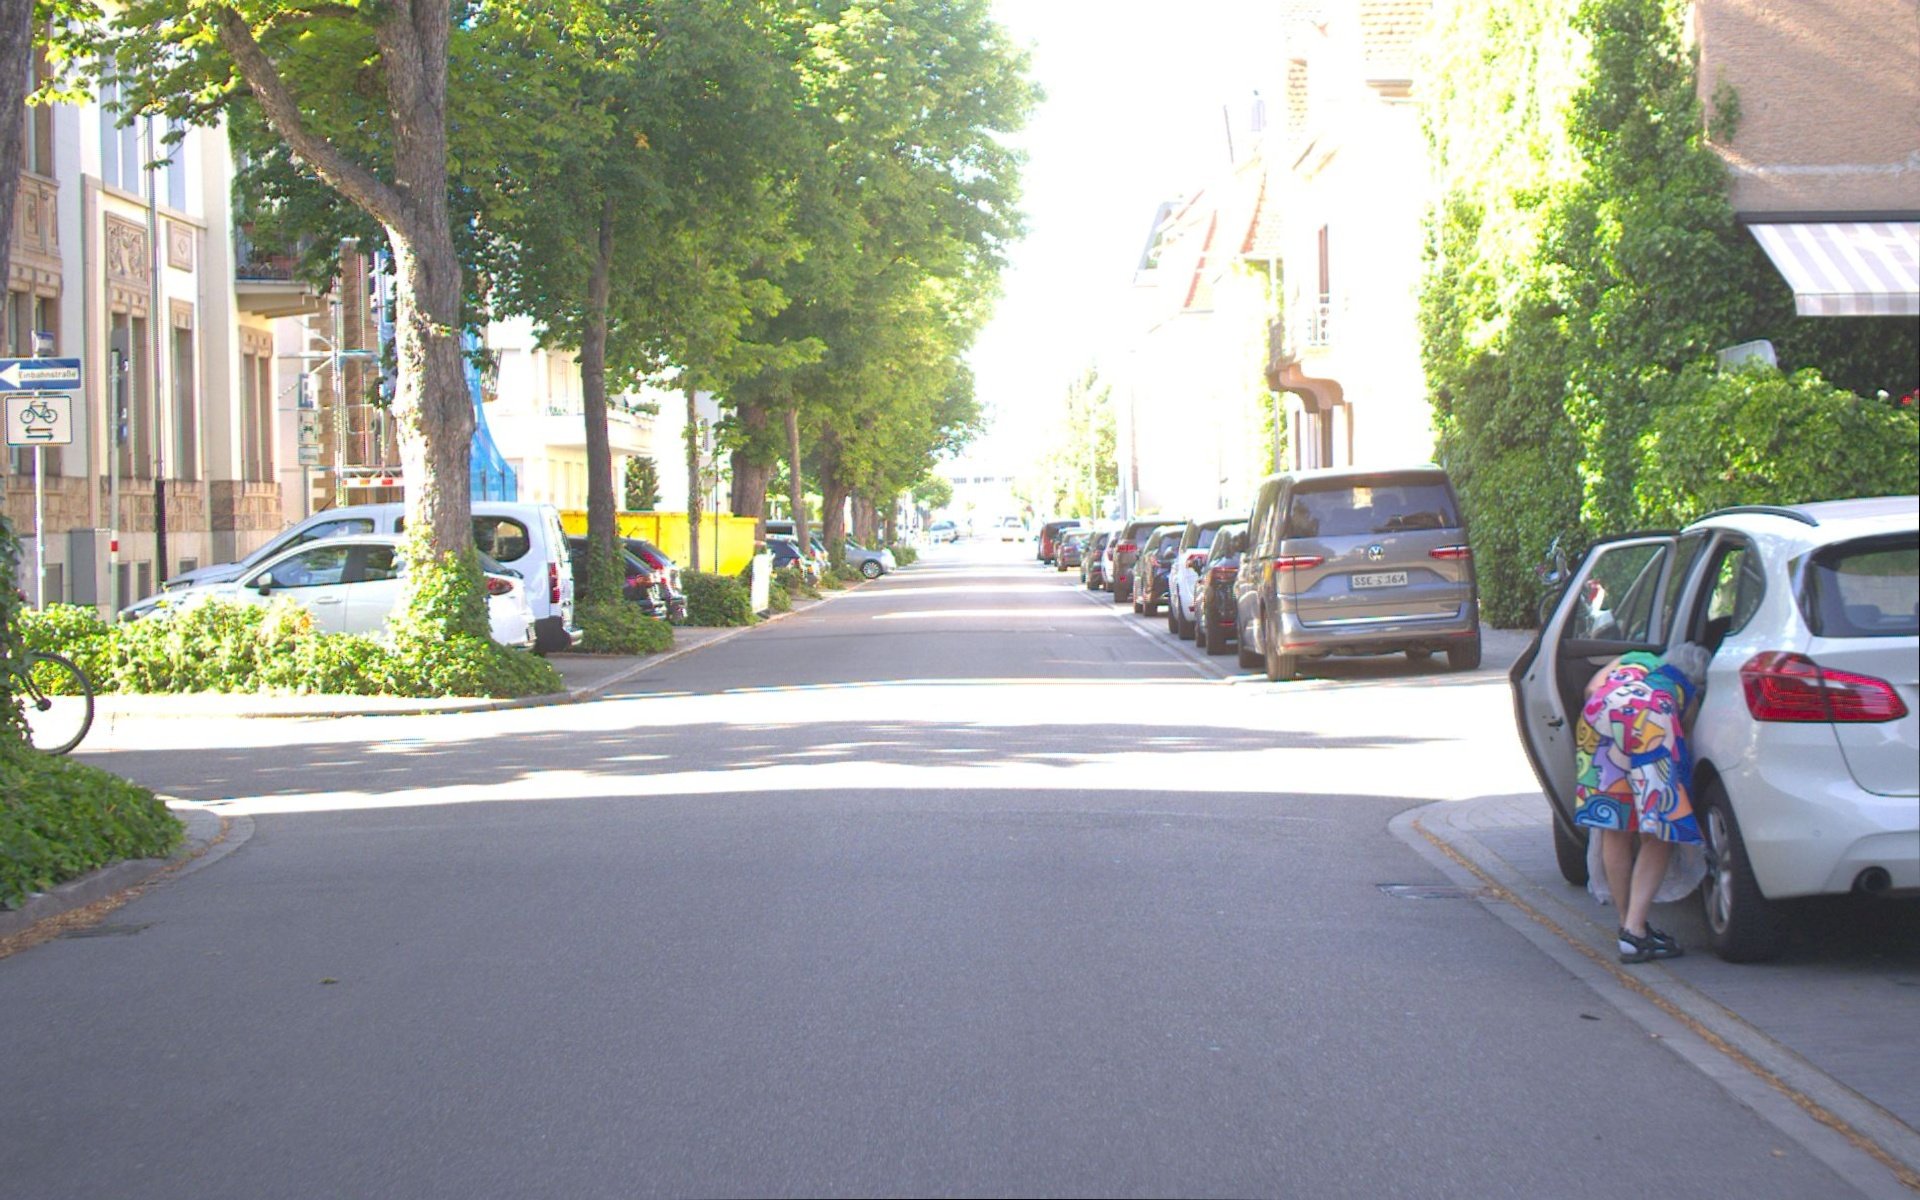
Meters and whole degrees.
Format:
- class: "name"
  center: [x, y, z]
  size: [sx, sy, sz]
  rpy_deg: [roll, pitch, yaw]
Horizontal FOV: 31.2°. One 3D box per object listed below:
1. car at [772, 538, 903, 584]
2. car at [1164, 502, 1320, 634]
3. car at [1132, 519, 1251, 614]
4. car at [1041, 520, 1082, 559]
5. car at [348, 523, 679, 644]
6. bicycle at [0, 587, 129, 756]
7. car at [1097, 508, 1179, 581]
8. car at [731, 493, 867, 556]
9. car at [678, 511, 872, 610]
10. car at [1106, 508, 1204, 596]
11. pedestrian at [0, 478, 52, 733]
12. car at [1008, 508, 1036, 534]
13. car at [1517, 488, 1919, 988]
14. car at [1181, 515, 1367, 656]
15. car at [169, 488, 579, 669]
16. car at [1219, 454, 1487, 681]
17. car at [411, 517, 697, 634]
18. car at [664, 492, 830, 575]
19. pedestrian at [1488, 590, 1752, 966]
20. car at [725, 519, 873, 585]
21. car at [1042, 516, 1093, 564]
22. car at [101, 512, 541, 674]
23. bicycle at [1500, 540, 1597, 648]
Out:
- class: "car"
  center: [-4.003, -1.285, 112.561]
  size: [3.989, 1.404, 1.701]
  rpy_deg: [-1, 2, 11]
- class: "car"
  center: [3.617, -0.456, 44.638]
  size: [1.789, 1.612, 3.866]
  rpy_deg: [-1, 2, 2]
- class: "car"
  center: [3.733, -0.568, 55.976]
  size: [1.771, 1.450, 3.866]
  rpy_deg: [-1, 2, 2]
- class: "car"
  center: [4.433, -2.664, 150.111]
  size: [1.771, 1.625, 3.866]
  rpy_deg: [-1, 2, 2]
- class: "car"
  center: [-5.766, -0.227, 44.699]
  size: [3.987, 1.464, 1.864]
  rpy_deg: [-1, 2, 3]
- class: "bicycle"
  center: [-6.704, 0.497, 23.117]
  size: [1.991, 1.062, 0.760]
  rpy_deg: [-2, 2, 5]
- class: "car"
  center: [4.097, -1.304, 79.543]
  size: [1.771, 1.625, 3.866]
  rpy_deg: [-1, 2, 2]
- class: "car"
  center: [-4.989, -2.355, 107.030]
  size: [4.007, 1.834, 2.000]
  rpy_deg: [1, 2, 3]
- class: "car"
  center: [-3.986, -0.836, 73.721]
  size: [3.986, 2.007, 2.000]
  rpy_deg: [-1, 0, -7]
- class: "car"
  center: [3.757, -0.957, 66.859]
  size: [1.771, 1.625, 3.866]
  rpy_deg: [-1, 2, 2]
- class: "pedestrian"
  center: [-6.566, 0.036, 23.110]
  size: [0.631, 1.688, 0.652]
  rpy_deg: [-2, 2, 4]
- class: "car"
  center: [3.975, -5.051, 220.352]
  size: [1.771, 1.625, 3.866]
  rpy_deg: [-1, 2, 2]
- class: "car"
  center: [3.380, 0.372, 13.032]
  size: [1.699, 1.534, 4.156]
  rpy_deg: [-3, 1, -1]
- class: "car"
  center: [3.502, -0.201, 38.877]
  size: [1.690, 1.393, 3.806]
  rpy_deg: [-4, 2, 0]
- class: "car"
  center: [-6.038, -0.230, 35.774]
  size: [3.986, 1.754, 1.798]
  rpy_deg: [1, 1, -3]
- class: "car"
  center: [3.604, -0.351, 32.337]
  size: [1.904, 1.864, 4.674]
  rpy_deg: [-4, 2, 0]
- class: "car"
  center: [-5.848, -0.373, 49.536]
  size: [3.986, 1.546, 1.838]
  rpy_deg: [-1, 2, -7]
- class: "car"
  center: [-5.375, -1.675, 86.441]
  size: [3.986, 2.007, 2.001]
  rpy_deg: [-1, 1, -7]
- class: "pedestrian"
  center: [2.316, 0.608, 12.120]
  size: [0.723, 1.253, 0.646]
  rpy_deg: [-2, 1, -6]
- class: "car"
  center: [-4.574, -1.385, 97.756]
  size: [4.007, 1.729, 1.894]
  rpy_deg: [1, 2, 3]
- class: "car"
  center: [3.801, -2.149, 121.562]
  size: [1.771, 1.625, 3.866]
  rpy_deg: [-1, 2, 2]
- class: "car"
  center: [-6.160, -0.076, 33.470]
  size: [3.986, 1.459, 1.798]
  rpy_deg: [1, 1, -3]
- class: "bicycle"
  center: [5.931, -0.077, 34.753]
  size: [0.588, 1.020, 2.370]
  rpy_deg: [-1, 1, 1]
